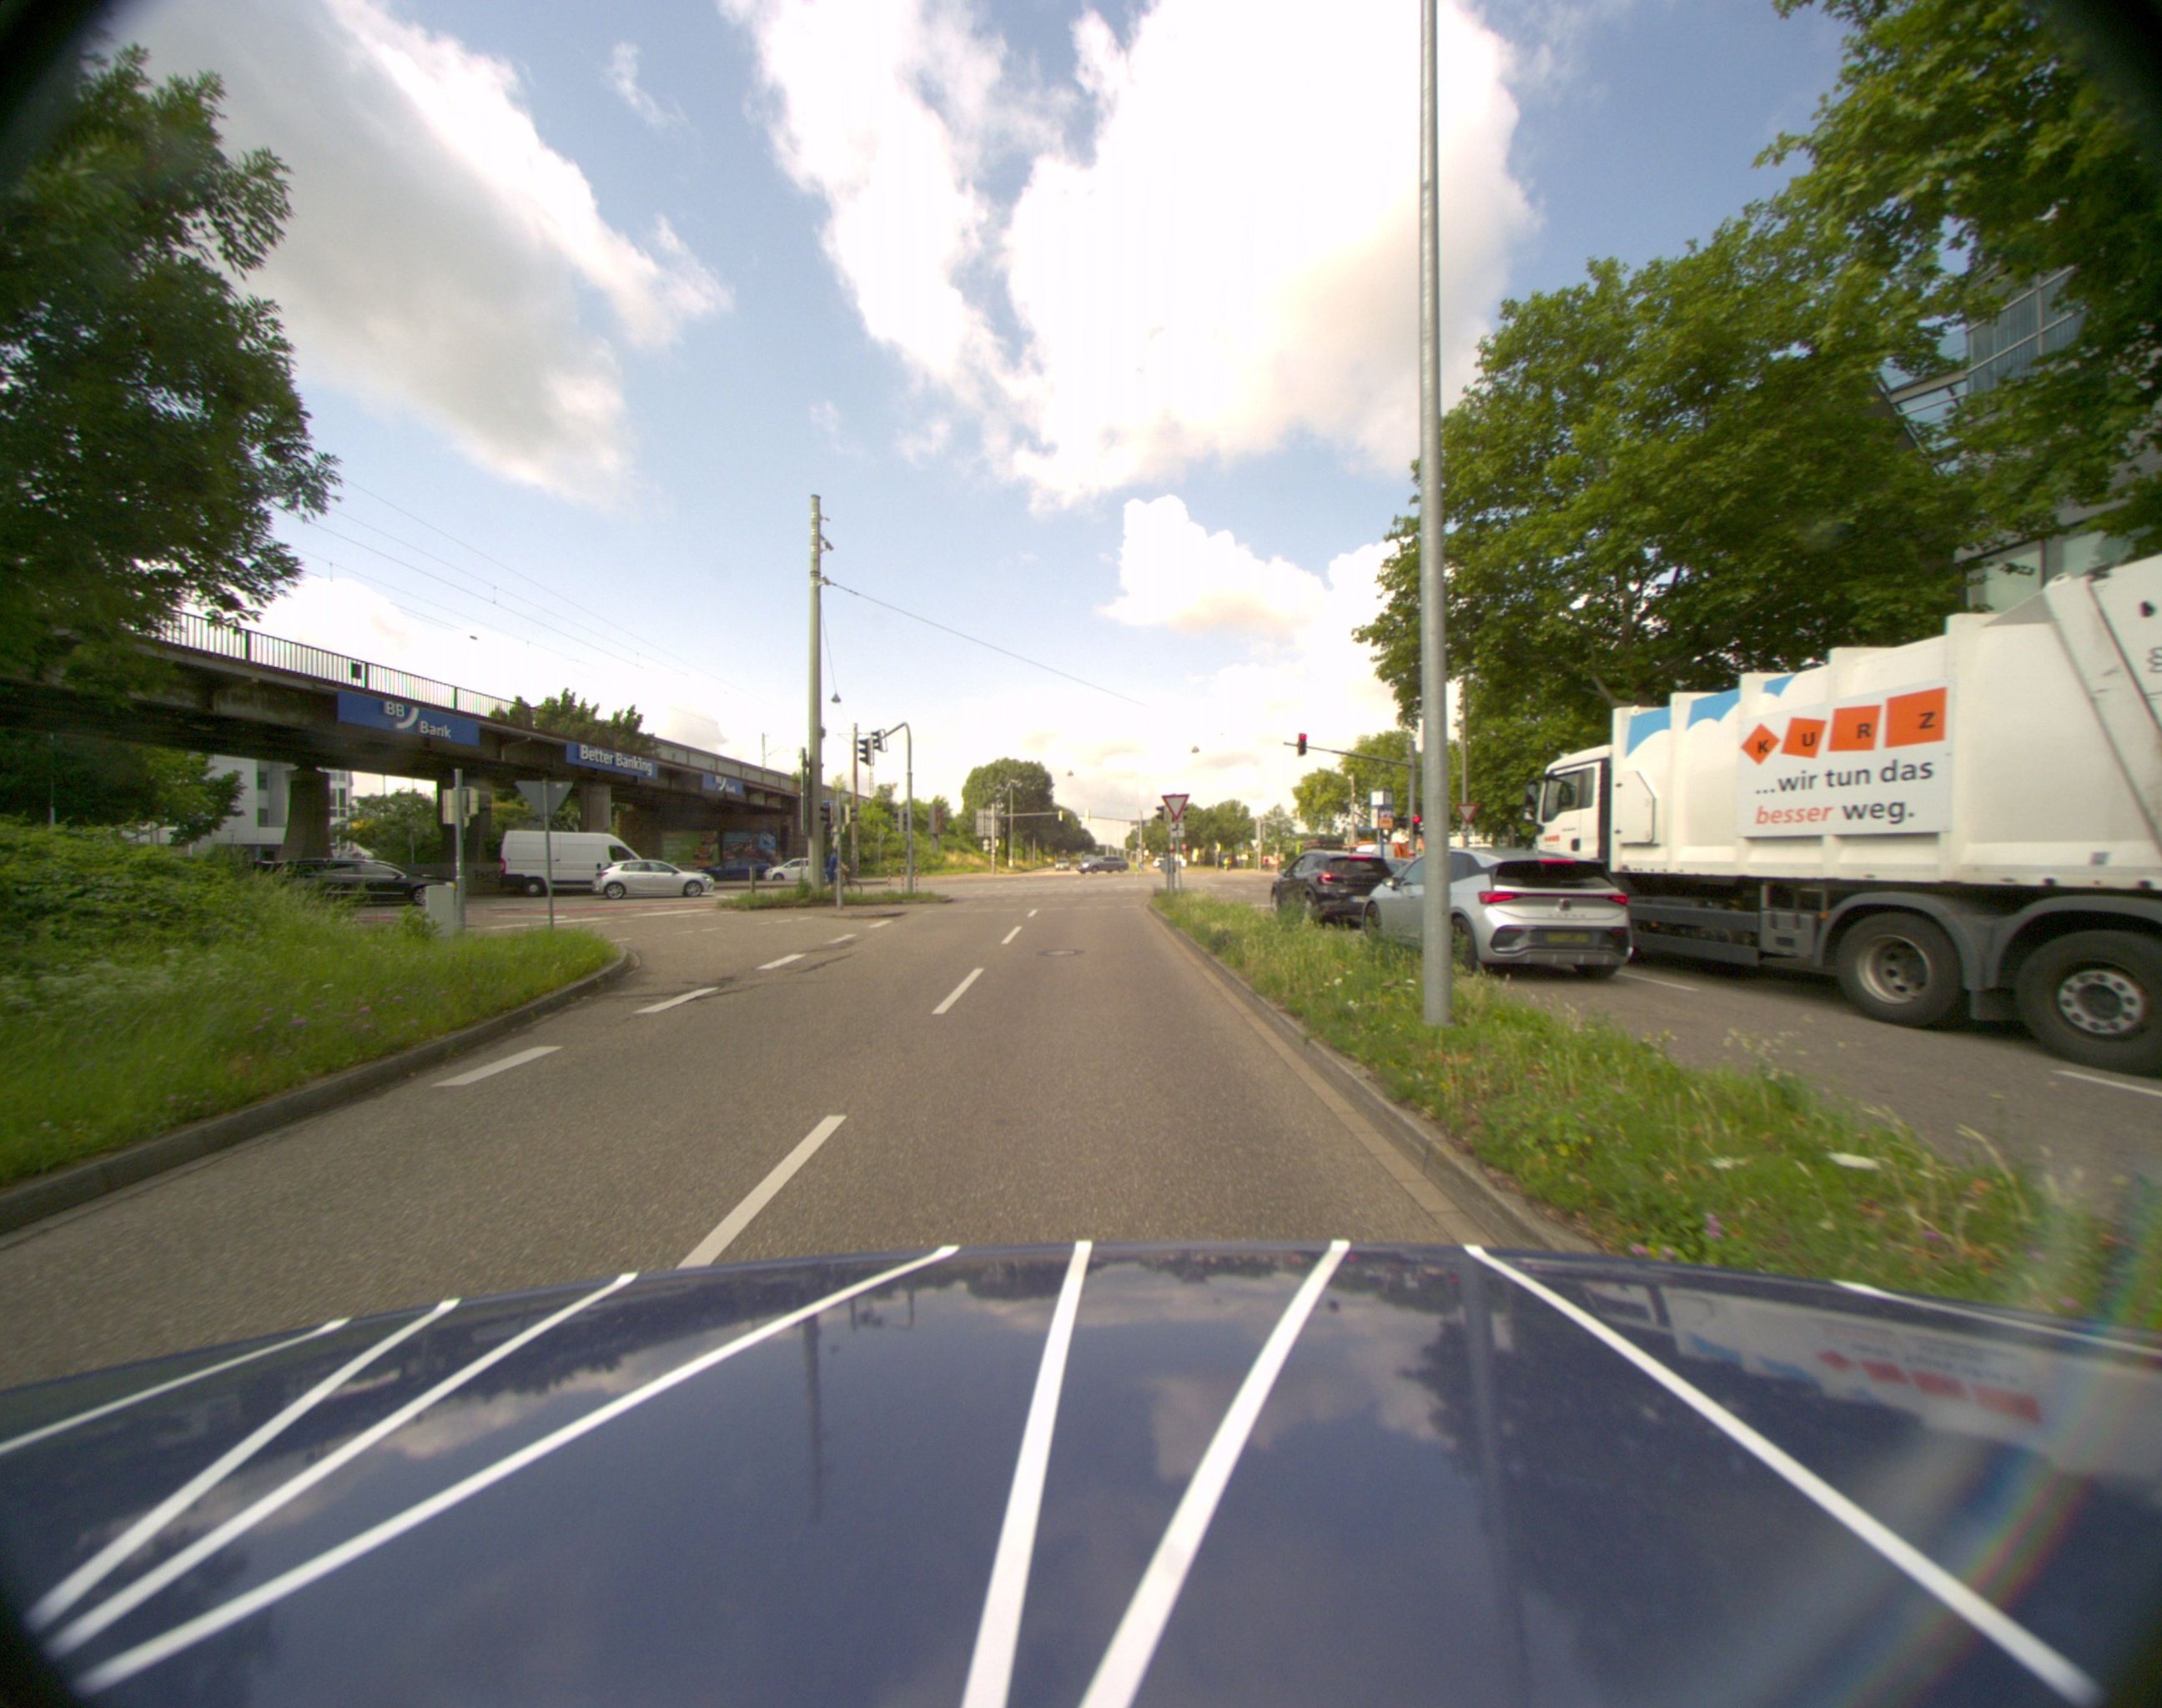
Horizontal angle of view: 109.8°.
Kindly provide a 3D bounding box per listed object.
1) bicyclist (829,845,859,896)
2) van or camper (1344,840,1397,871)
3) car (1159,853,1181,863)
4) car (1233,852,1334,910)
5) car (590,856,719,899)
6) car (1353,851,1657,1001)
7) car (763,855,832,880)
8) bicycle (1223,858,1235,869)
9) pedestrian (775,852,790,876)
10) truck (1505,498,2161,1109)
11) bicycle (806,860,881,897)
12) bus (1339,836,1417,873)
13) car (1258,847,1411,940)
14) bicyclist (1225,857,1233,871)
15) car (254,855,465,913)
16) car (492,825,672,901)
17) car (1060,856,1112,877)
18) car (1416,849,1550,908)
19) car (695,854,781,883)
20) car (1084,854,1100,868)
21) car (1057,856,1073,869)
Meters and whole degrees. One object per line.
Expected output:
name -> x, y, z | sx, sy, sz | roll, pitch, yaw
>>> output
bicyclist -> -8.152, 0.557, 26.135 | 0.824, 1.670, 0.843 | -3, 5, -27
van or camper -> 30.145, 0.117, 78.993 | 5.975, 2.771, 2.158 | -4, 5, -36
car -> 13.567, 0.661, 115.196 | 1.745, 1.470, 3.807 | 1, -1, 33
car -> 5.998, 0.767, 23.071 | 1.869, 1.564, 4.569 | -1, 0, 0
car -> -15.886, 0.876, 28.361 | 4.008, 1.468, 1.703 | 2, 0, -35
car -> 5.307, 0.767, 10.284 | 1.749, 1.544, 4.233 | 2, 1, 1
car -> -17.143, 0.816, 45.995 | 3.609, 1.477, 1.733 | 1, -1, -36
bicycle -> 18.273, 1.187, 93.864 | 0.677, 1.190, 2.231 | -5, 2, -6
pedestrian -> -21.134, 0.684, 53.729 | 0.691, 1.642, 0.610 | 0, 4, 18
truck -> 8.241, -0.321, 7.459 | 2.656, 3.865, 10.160 | 1, 0, 2
bicycle -> -8.156, 0.828, 26.147 | 2.321, 1.088, 0.843 | -3, 5, -27
bus -> 33.275, -0.068, 84.985 | 10.410, 3.448, 2.738 | -4, 5, -34
car -> 5.229, 0.717, 16.322 | 1.712, 1.578, 4.361 | 4, 1, 0
bicyclist -> 18.246, 1.194, 93.722 | 0.677, 1.670, 0.836 | -5, 3, -7
car -> -22.443, 0.868, 23.959 | 4.673, 1.574, 1.766 | -1, 1, -39
car -> -19.498, 0.251, 29.979 | 5.635, 2.514, 2.258 | -3, 6, -33
car -> 0.419, 1.051, 64.410 | 4.006, 1.456, 1.768 | -4, 2, -34
car -> 11.748, 0.660, 22.523 | 1.734, 1.562, 3.999 | -1, 0, -2
car -> -21.212, 0.853, 47.078 | 4.588, 1.567, 1.887 | -1, 4, -34
car -> 1.228, 0.807, 84.735 | 1.820, 1.477, 4.000 | -1, 0, 1
car -> -1.789, 0.985, 87.371 | 1.716, 1.477, 4.000 | -1, 0, 1
